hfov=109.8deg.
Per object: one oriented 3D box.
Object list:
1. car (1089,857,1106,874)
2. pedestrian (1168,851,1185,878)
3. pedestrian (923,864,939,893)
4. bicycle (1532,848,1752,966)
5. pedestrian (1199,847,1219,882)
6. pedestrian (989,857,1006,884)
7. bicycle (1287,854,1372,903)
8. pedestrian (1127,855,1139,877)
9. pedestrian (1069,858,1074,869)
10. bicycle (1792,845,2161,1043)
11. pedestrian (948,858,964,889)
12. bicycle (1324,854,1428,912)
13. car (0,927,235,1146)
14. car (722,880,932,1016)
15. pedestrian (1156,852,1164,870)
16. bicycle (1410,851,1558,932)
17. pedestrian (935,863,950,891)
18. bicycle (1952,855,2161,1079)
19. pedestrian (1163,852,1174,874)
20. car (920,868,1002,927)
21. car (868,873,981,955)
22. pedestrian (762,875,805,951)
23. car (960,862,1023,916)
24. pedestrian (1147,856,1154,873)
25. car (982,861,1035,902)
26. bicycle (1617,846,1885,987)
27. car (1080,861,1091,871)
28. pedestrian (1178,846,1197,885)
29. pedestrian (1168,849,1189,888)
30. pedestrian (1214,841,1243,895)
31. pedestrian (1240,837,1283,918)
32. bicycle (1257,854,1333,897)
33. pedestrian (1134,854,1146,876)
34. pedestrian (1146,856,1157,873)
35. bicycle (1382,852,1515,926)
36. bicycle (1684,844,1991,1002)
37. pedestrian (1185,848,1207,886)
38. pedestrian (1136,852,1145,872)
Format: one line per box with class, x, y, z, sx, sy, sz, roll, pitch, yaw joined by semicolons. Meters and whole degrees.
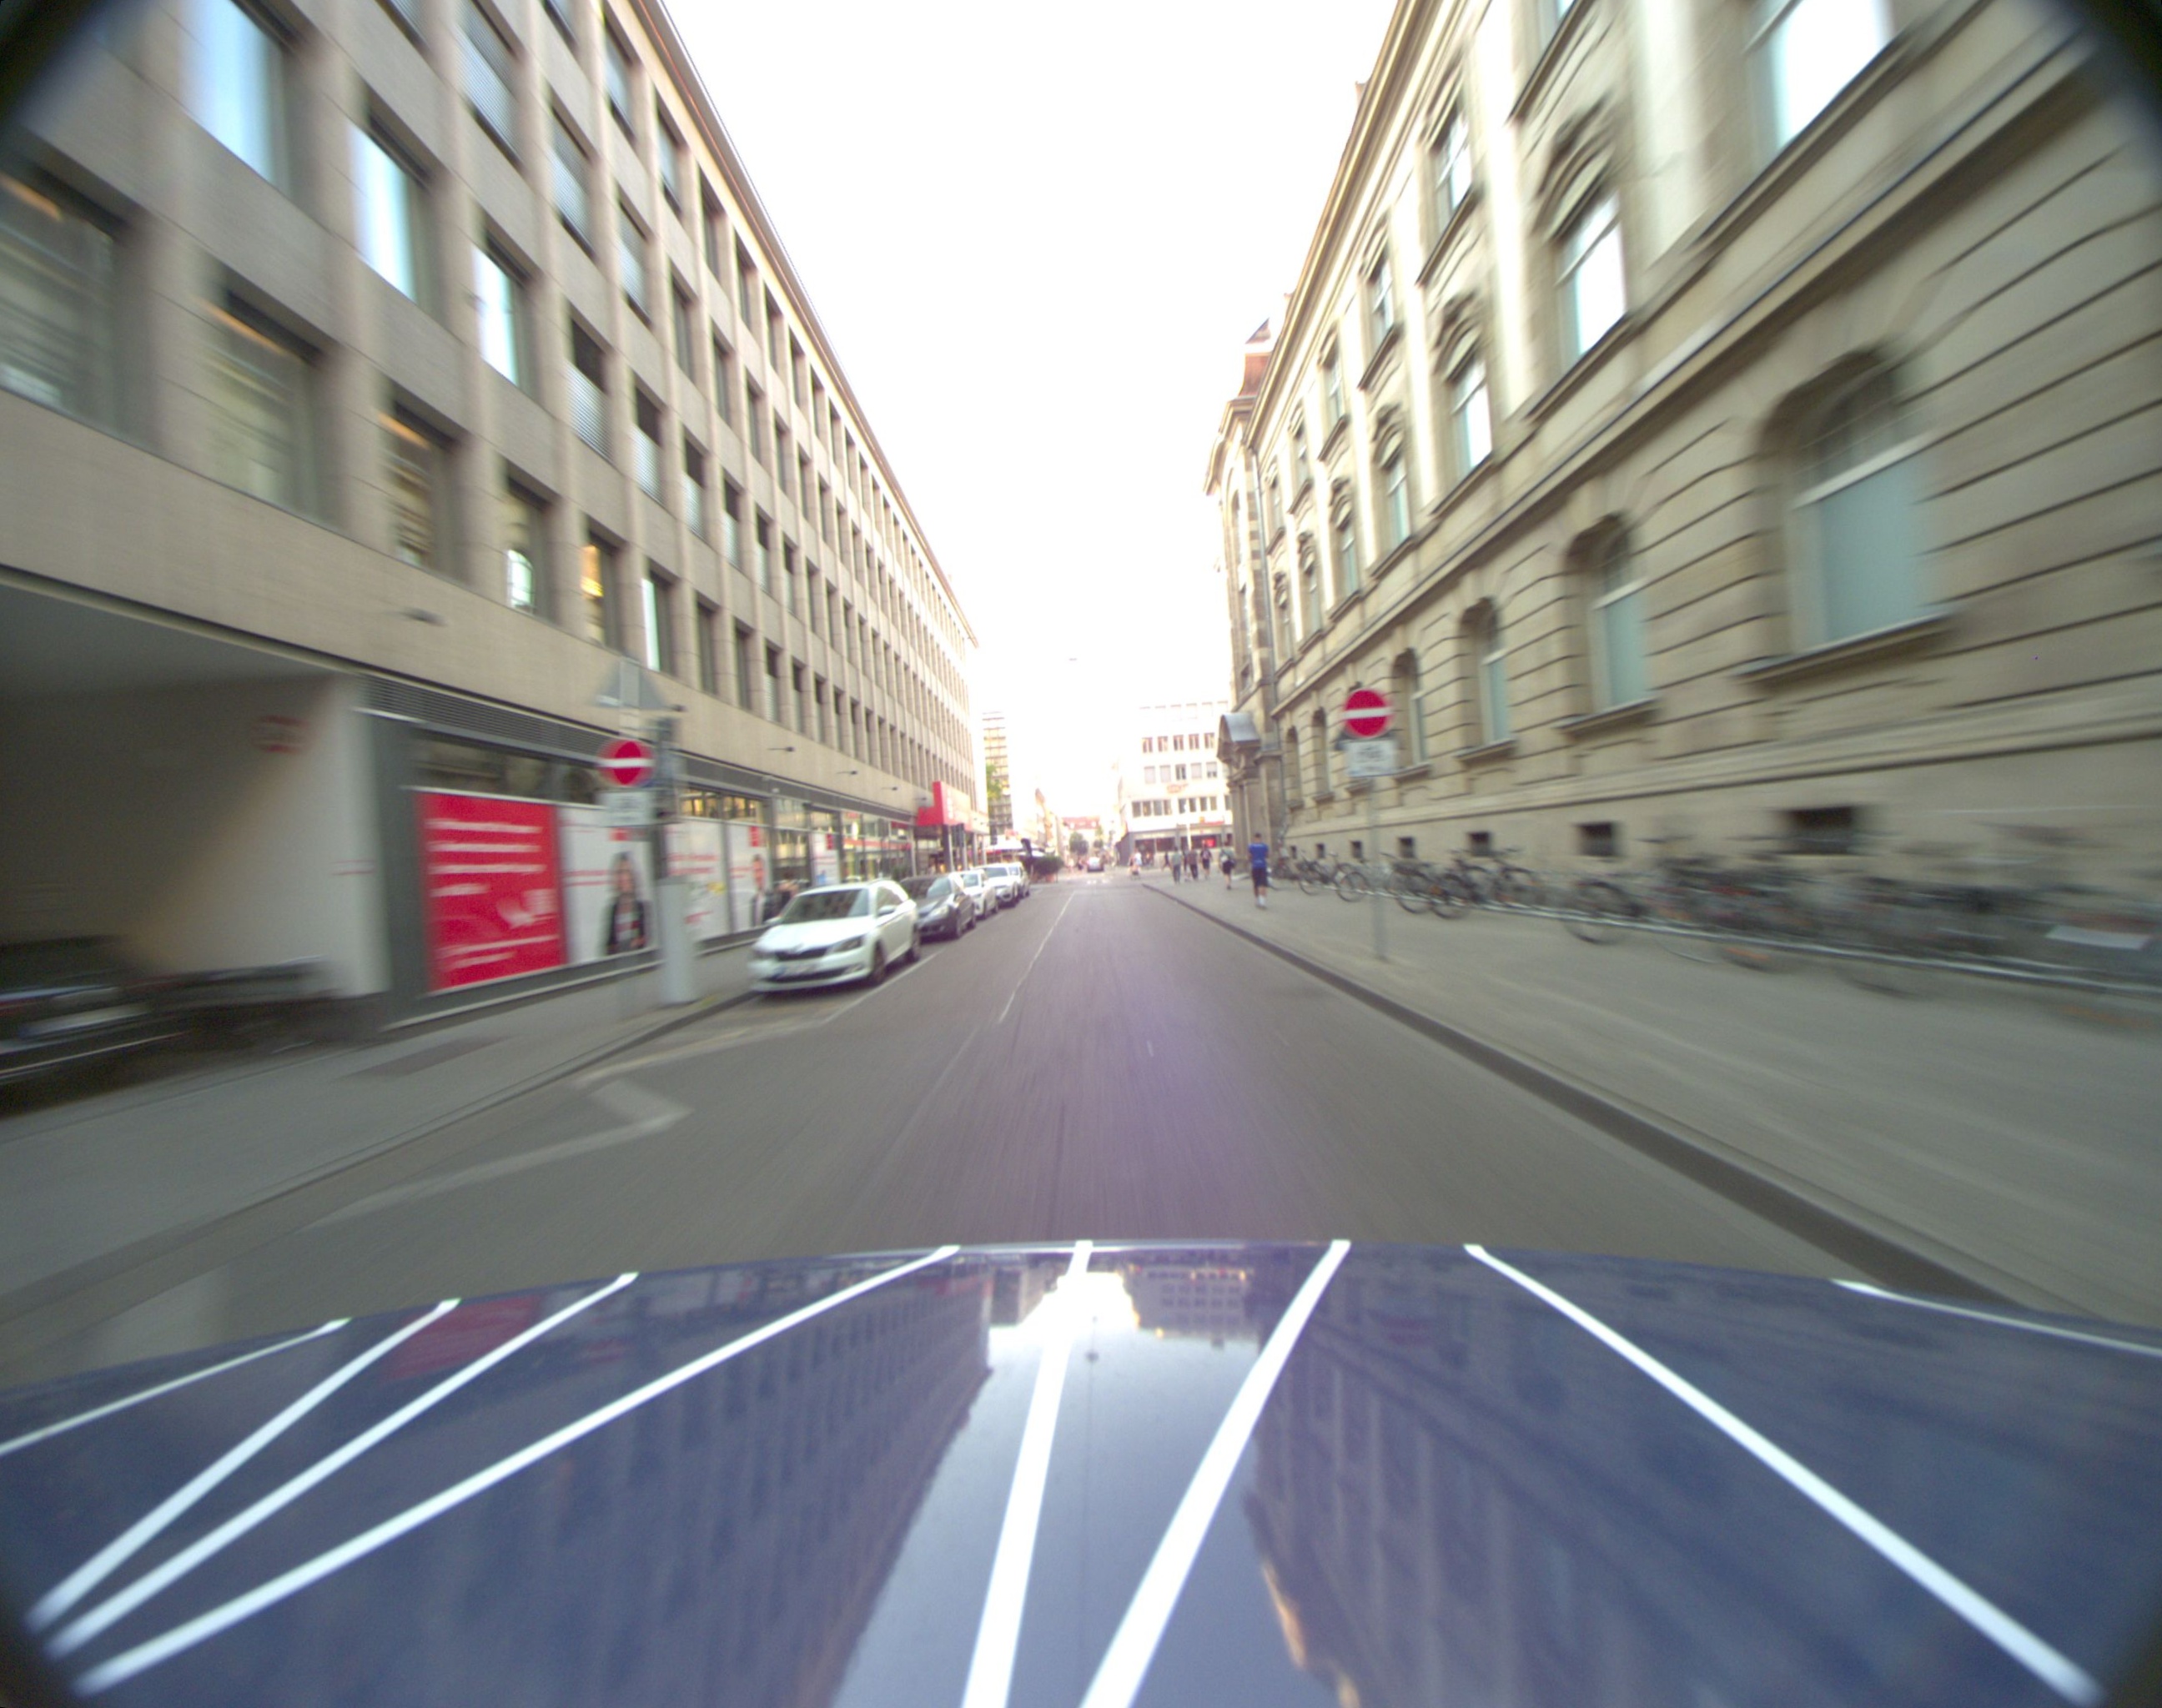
car;1.863;1.318;88.104;1.824;1.728;4.000;-3;-1;0
pedestrian;6.204;0.688;49.274;0.742;1.649;0.754;-4;0;37
pedestrian;-9.498;1.535;48.139;0.800;1.751;0.687;-3;0;-8
bicycle;6.298;0.571;8.578;1.943;1.072;0.730;-6;1;-6
pedestrian;6.249;0.516;37.127;0.757;1.632;0.749;-7;0;8
pedestrian;-5.740;1.137;52.000;0.685;1.751;0.801;-4;0;42
bicycle;6.649;0.654;20.331;2.026;1.072;0.729;-6;1;-18
pedestrian;4.047;0.930;59.224;0.795;1.679;0.769;-3;0;3
pedestrian;-1.351;1.439;112.581;0.650;1.651;0.650;-3;0;-2
bicycle;6.257;0.575;5.225;1.942;1.072;0.748;-6;1;0
pedestrian;-7.868;1.245;47.913;0.799;1.907;0.687;-3;0;0
bicycle;6.543;0.630;16.889;1.942;1.072;0.730;-6;1;-3
car;-10.415;1.630;6.343;4.413;1.492;1.917;-5;1;0
car;-3.668;1.278;11.850;1.661;1.439;4.308;-5;0;1
pedestrian;7.855;0.694;75.556;0.545;1.698;0.558;-5;0;1
bicycle;6.447;0.582;12.201;1.943;1.072;0.730;-6;1;-6
pedestrian;-8.945;1.511;49.071;0.799;1.751;0.687;-3;0;-6
bicycle;6.312;0.556;4.304;1.940;1.039;0.721;-5;0;-3
pedestrian;6.906;0.699;60.166;0.732;1.679;0.746;-3;0;3
car;-3.590;1.255;23.372;1.660;1.439;3.869;-5;0;2
car;-3.502;1.292;17.822;1.661;1.439;4.445;-5;0;0
pedestrian;-6.675;1.306;17.066;0.650;1.626;0.650;-2;0;0
car;-3.294;1.244;28.853;1.780;1.656;4.813;-5;0;-1
pedestrian;7.113;1.081;77.423;0.545;1.698;0.558;-5;0;1
car;-3.257;1.203;35.096;1.744;1.588;4.715;-6;-1;1
bicycle;6.357;0.562;7.261;1.943;1.072;0.730;-6;1;-6
car;0.828;2.045;132.622;1.798;1.705;4.001;-3;-1;2
pedestrian;5.251;0.559;37.449;0.718;1.819;0.870;-7;0;8
pedestrian;4.529;0.676;35.464;0.727;1.732;0.840;-7;0;4
pedestrian;5.106;0.484;26.374;0.719;1.770;0.800;-5;0;2
pedestrian;4.159;0.538;17.600;0.777;1.778;0.821;-5;0;10
bicycle;6.513;0.647;23.208;2.024;1.102;0.730;-6;1;-5
pedestrian;4.675;0.882;59.996;0.795;1.679;0.769;-3;0;3
pedestrian;6.377;0.960;68.812;0.676;1.532;0.641;-4;0;-19
bicycle;6.456;0.605;13.390;1.943;1.072;0.730;-6;1;-6
bicycle;6.411;0.550;6.488;1.943;1.072;0.730;-6;1;-6
pedestrian;5.388;0.605;35.686;0.731;1.658;0.858;-7;0;4
pedestrian;5.801;0.735;74.067;0.783;1.881;0.642;-4;0;1
